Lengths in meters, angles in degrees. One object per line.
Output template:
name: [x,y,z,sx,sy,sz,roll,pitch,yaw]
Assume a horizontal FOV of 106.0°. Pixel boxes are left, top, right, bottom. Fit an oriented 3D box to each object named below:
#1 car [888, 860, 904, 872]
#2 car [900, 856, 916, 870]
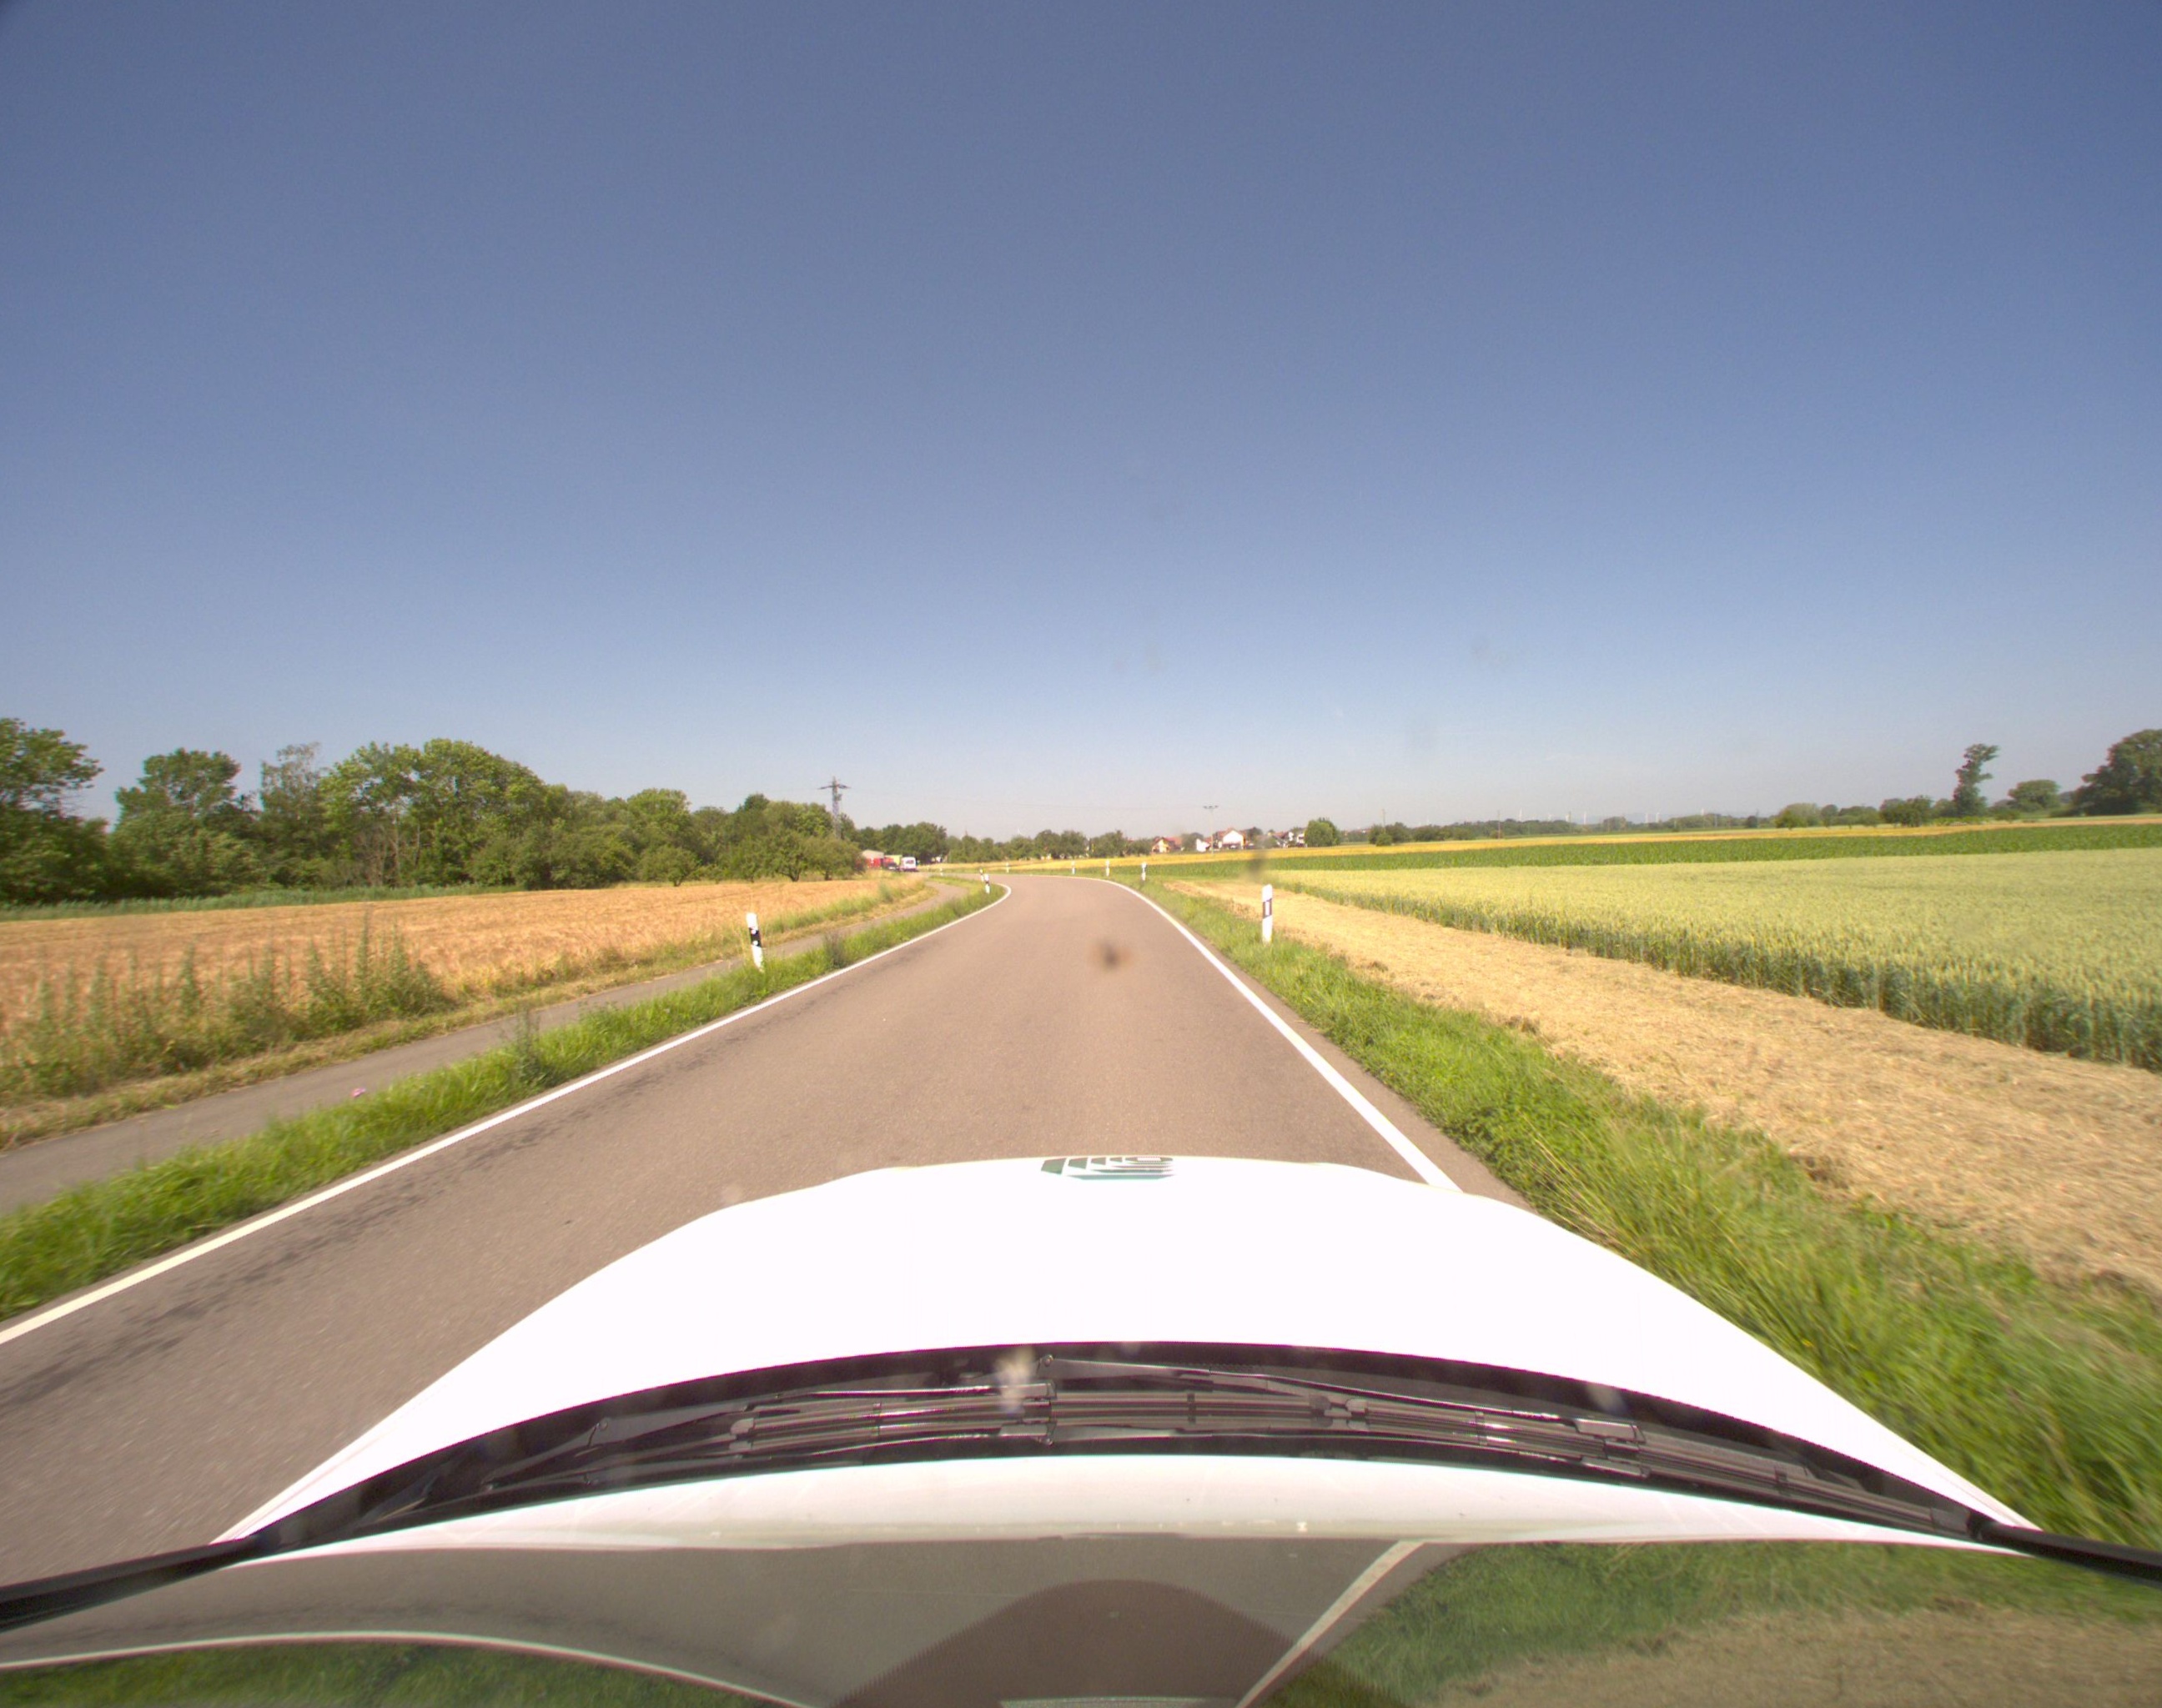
car: [-29.688,1.890,130.448,1.893,1.714,3.986,-4,0,-20]
car: [-29.019,1.517,136.440,2.000,2.266,4.695,-3,0,-19]
